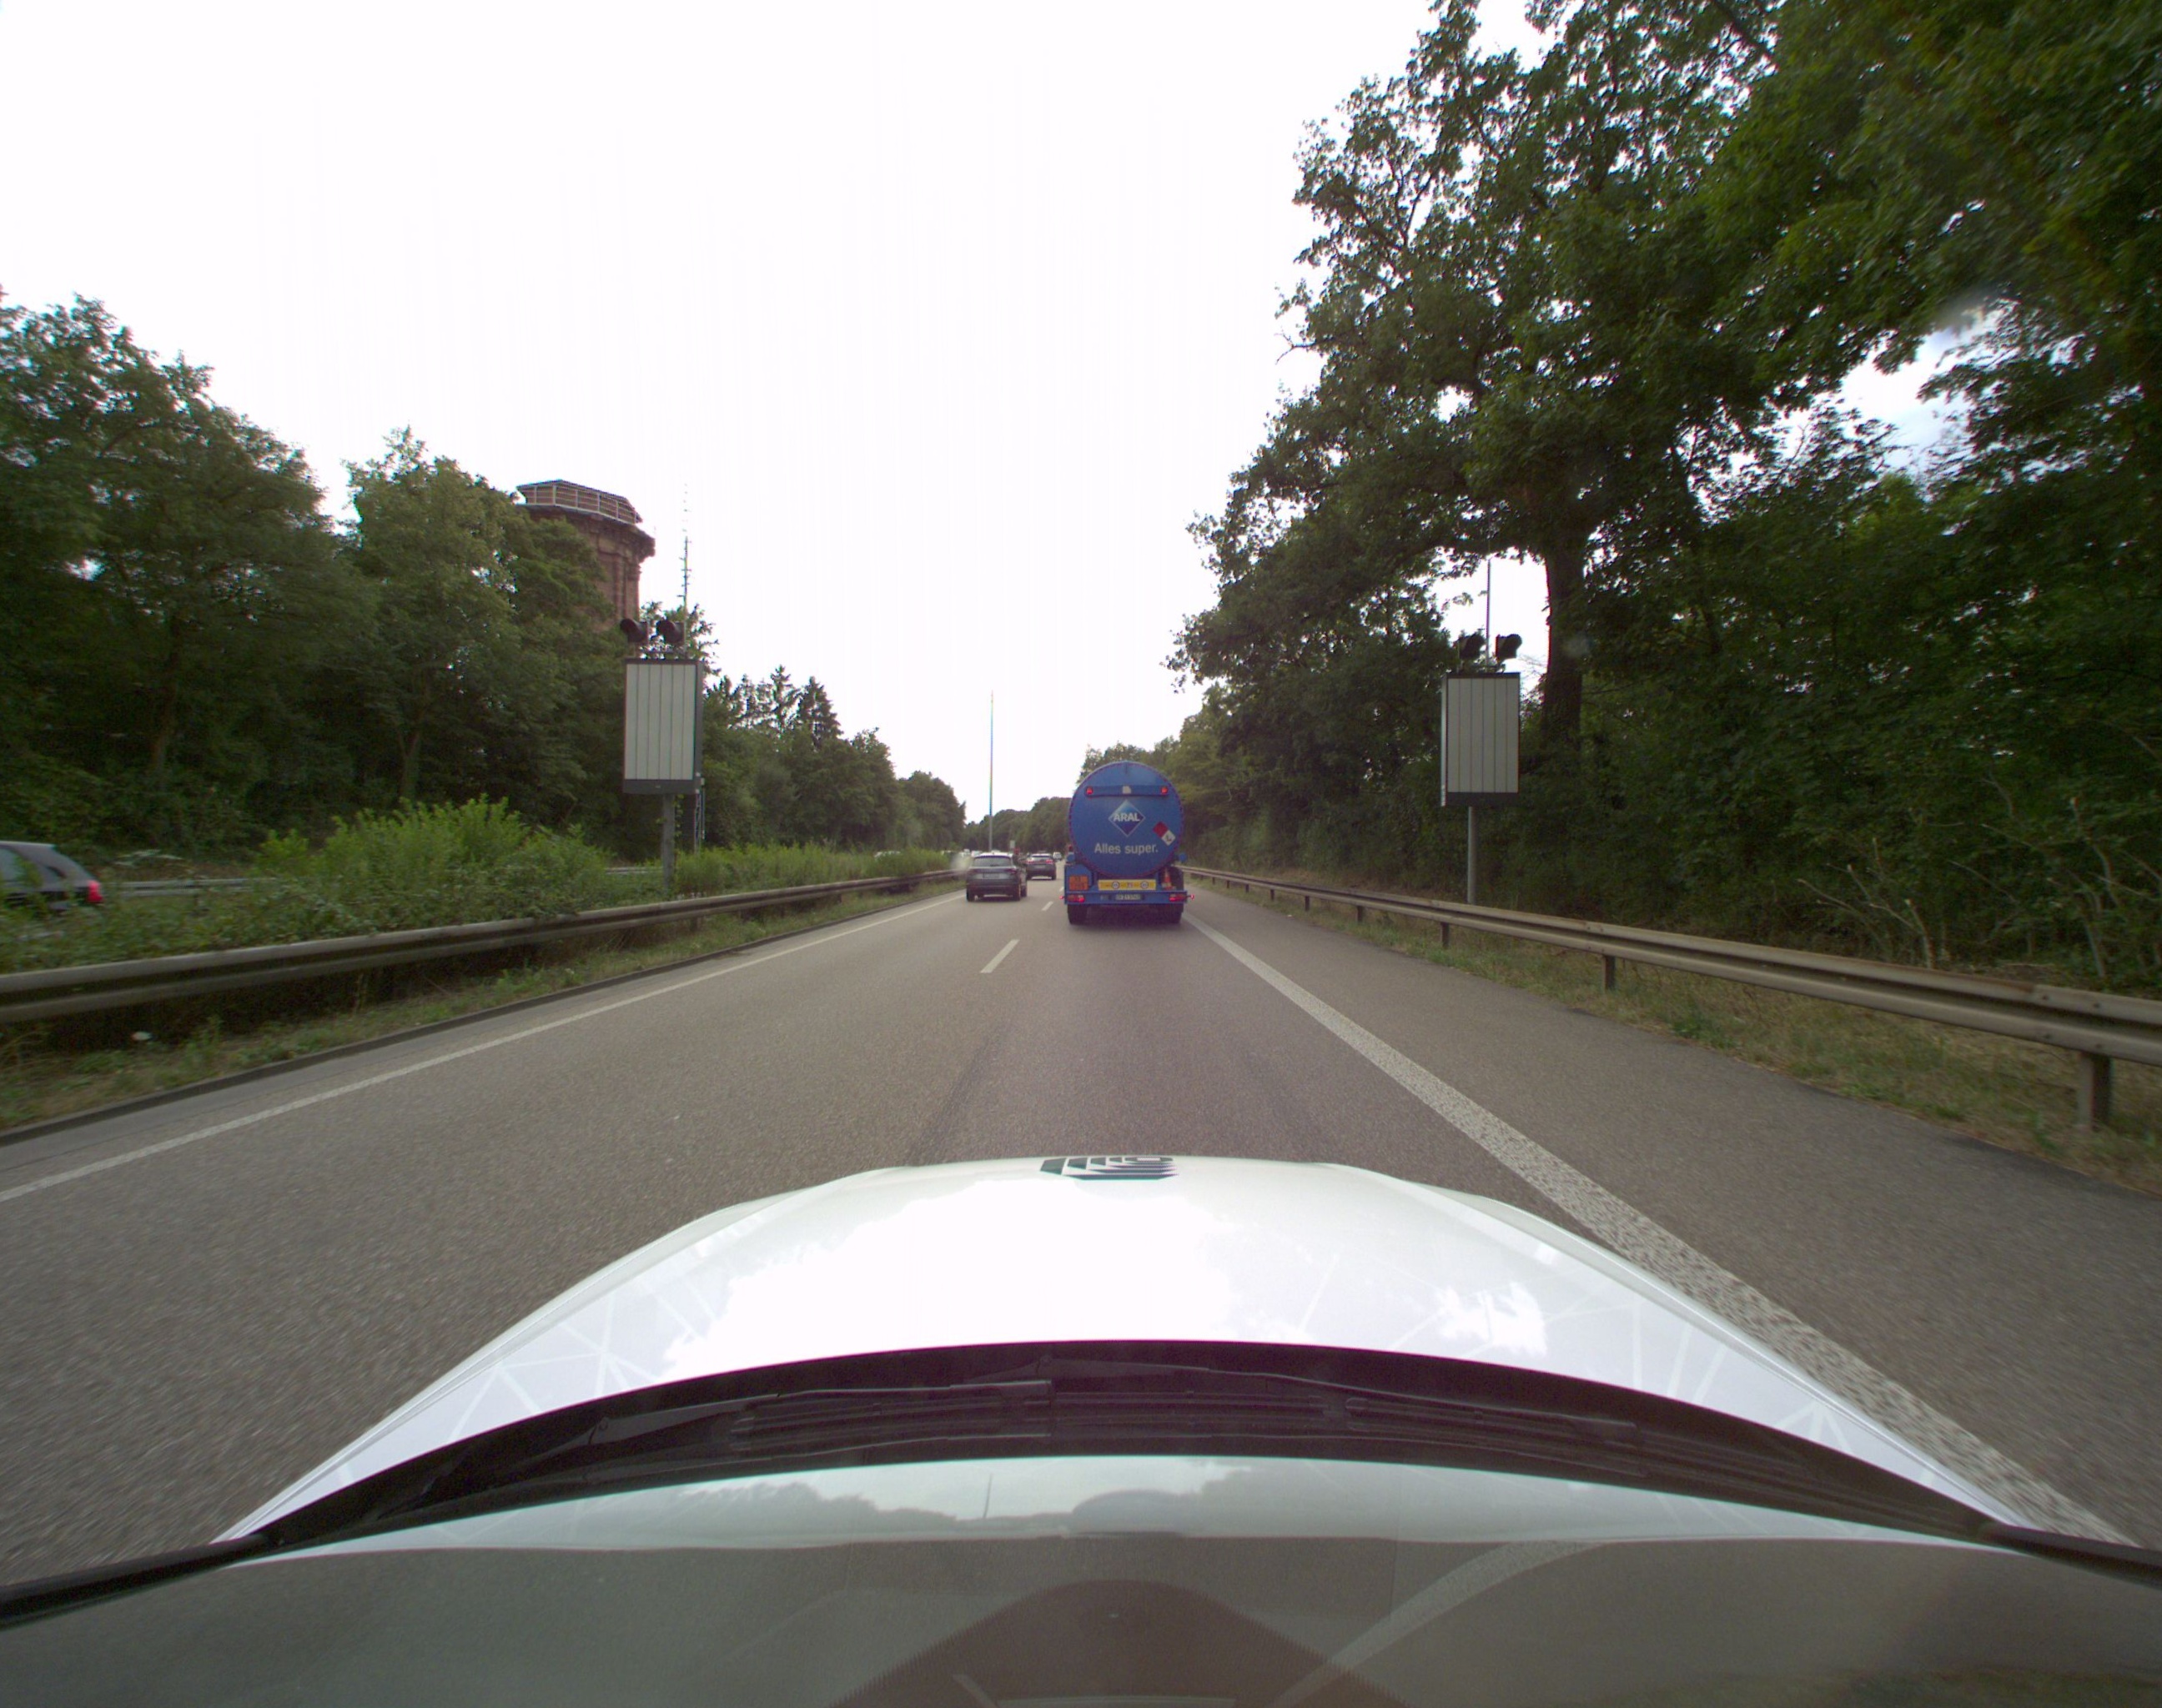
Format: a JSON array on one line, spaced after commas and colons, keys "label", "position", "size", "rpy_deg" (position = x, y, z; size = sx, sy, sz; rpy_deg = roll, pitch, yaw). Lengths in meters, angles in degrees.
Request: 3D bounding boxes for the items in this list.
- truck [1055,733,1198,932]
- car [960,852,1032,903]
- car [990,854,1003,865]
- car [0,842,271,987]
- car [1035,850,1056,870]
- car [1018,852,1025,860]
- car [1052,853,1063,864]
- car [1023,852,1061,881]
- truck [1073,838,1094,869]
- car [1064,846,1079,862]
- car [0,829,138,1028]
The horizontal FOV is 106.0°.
[{"label": "truck", "position": [1.072, -0.390, 19.793], "size": [2.744, 3.847, 7.693], "rpy_deg": [-1, -1, 3]}, {"label": "car", "position": [-2.835, 0.756, 28.008], "size": [1.819, 1.609, 4.170], "rpy_deg": [-1, 0, 3]}, {"label": "car", "position": [-14.307, 0.956, 138.428], "size": [1.786, 1.836, 4.954], "rpy_deg": [-1, 0, -1]}, {"label": "car", "position": [-15.006, 0.831, 12.628], "size": [1.454, 1.943, 3.364], "rpy_deg": [-1, -1, 2]}, {"label": "car", "position": [-3.720, 0.620, 86.496], "size": [1.987, 2.014, 4.000], "rpy_deg": [-1, -1, 1]}, {"label": "car", "position": [-16.576, 0.597, 227.381], "size": [1.990, 2.244, 3.994], "rpy_deg": [-1, -1, -4]}, {"label": "car", "position": [-4.747, 0.896, 164.044], "size": [1.985, 2.244, 4.003], "rpy_deg": [-1, -1, 3]}, {"label": "car", "position": [-2.289, 0.744, 48.924], "size": [1.819, 1.609, 4.170], "rpy_deg": [-1, 0, 3]}, {"label": "truck", "position": [0.341, 0.001, 84.579], "size": [1.986, 3.092, 7.816], "rpy_deg": [-1, 0, 1]}, {"label": "car", "position": [-1.325, 0.050, 118.006], "size": [1.989, 2.244, 3.995], "rpy_deg": [-1, -1, -3]}, {"label": "car", "position": [-11.295, 0.731, 7.408], "size": [1.454, 1.943, 3.364], "rpy_deg": [-1, -1, 2]}]
